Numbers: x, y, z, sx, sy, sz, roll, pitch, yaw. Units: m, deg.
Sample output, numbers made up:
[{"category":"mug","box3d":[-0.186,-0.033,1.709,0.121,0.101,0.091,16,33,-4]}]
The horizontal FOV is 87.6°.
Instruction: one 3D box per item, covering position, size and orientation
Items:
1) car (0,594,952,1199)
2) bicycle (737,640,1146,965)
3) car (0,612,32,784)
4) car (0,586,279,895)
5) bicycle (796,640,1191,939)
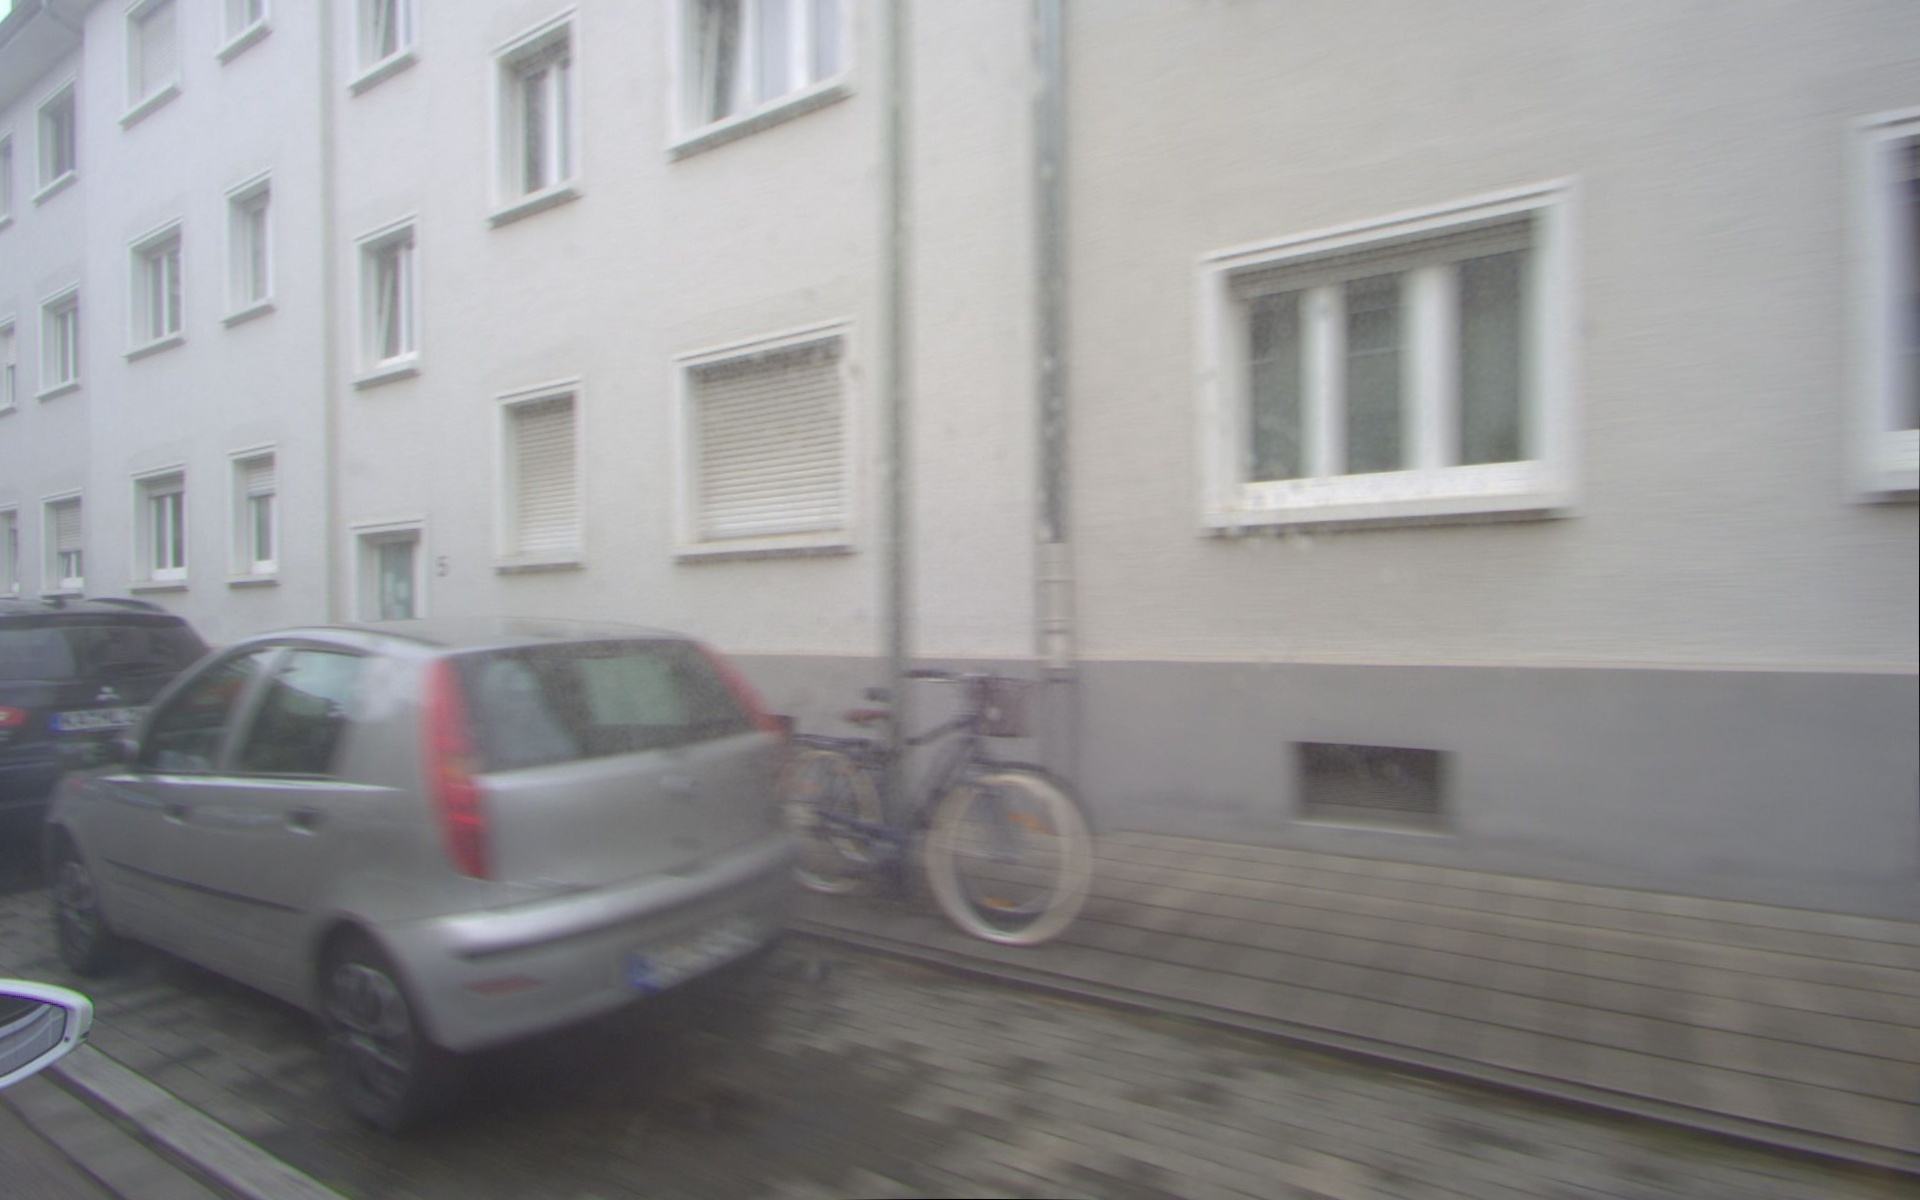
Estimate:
[{"category":"car","box3d":[-2.202,0.778,4.172,4.034,1.523,1.816,-1,-1,33]},{"category":"bicycle","box3d":[-0.170,0.803,4.633,2.011,1.191,0.528,-1,0,39]},{"category":"car","box3d":[-10.881,0.891,9.574,4.606,1.539,1.817,-1,-1,32]},{"category":"car","box3d":[-6.552,0.773,6.697,4.031,1.624,1.817,-1,-1,31]},{"category":"bicycle","box3d":[0.090,0.816,4.981,2.011,1.191,0.573,-1,0,38]}]
